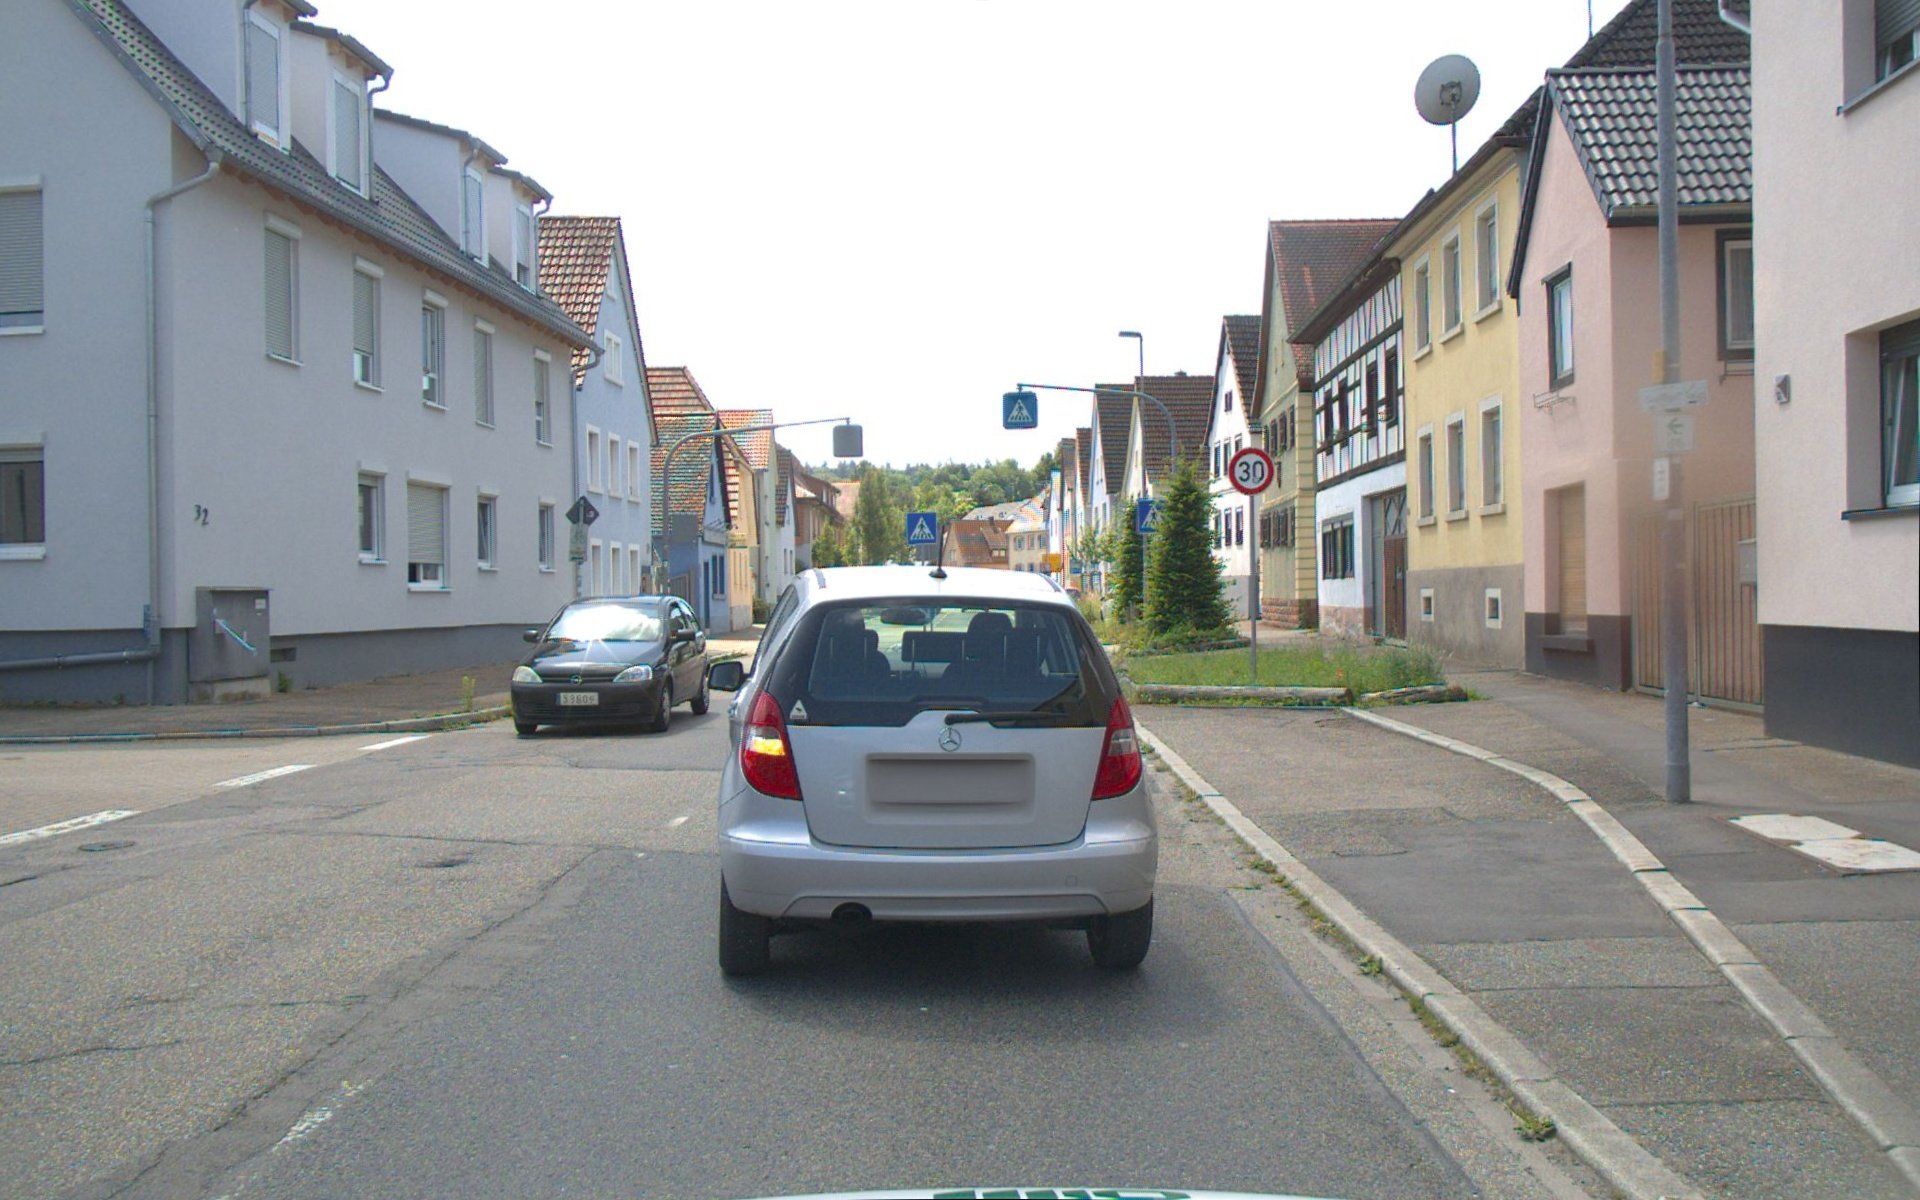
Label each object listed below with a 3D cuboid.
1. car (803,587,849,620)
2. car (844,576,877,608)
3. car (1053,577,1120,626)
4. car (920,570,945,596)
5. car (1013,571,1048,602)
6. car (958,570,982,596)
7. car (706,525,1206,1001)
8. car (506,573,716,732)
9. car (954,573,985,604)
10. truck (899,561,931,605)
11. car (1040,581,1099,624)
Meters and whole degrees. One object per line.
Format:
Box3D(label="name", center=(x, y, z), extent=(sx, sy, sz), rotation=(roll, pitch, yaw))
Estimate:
Box3D(label="car", center=(-5.933, 0.166, 72.970), extent=(1.955, 1.344, 3.704), rotation=(0, -2, -5))
Box3D(label="car", center=(-5.496, -0.426, 91.678), extent=(1.633, 1.624, 3.999), rotation=(0, -2, 0))
Box3D(label="car", center=(4.204, 0.074, 55.618), extent=(1.953, 1.534, 3.999), rotation=(0, -2, 0))
Box3D(label="car", center=(-2.294, -1.409, 137.453), extent=(1.952, 2.049, 4.000), rotation=(0, -2, 1))
Box3D(label="car", center=(4.490, -0.821, 105.854), extent=(1.953, 1.848, 3.998), rotation=(0, -2, -1))
Box3D(label="car", center=(0.813, -1.396, 138.547), extent=(1.953, 2.049, 3.999), rotation=(0, -2, 0))
Box3D(label="car", center=(-0.219, 0.593, 7.782), extent=(1.776, 1.672, 3.723), rotation=(1, 0, -7))
Box3D(label="car", center=(-3.733, 0.567, 18.275), extent=(1.469, 1.567, 3.856), rotation=(0, -1, 0))
Box3D(label="car", center=(0.588, -0.741, 108.350), extent=(1.953, 1.848, 3.998), rotation=(0, -2, -1))
Box3D(label="truck", center=(-2.862, -1.044, 105.675), extent=(1.953, 2.581, 6.737), rotation=(0, -2, -1))
Box3D(label="car", center=(4.079, 0.108, 62.365), extent=(1.953, 1.534, 3.999), rotation=(0, -2, 0))
